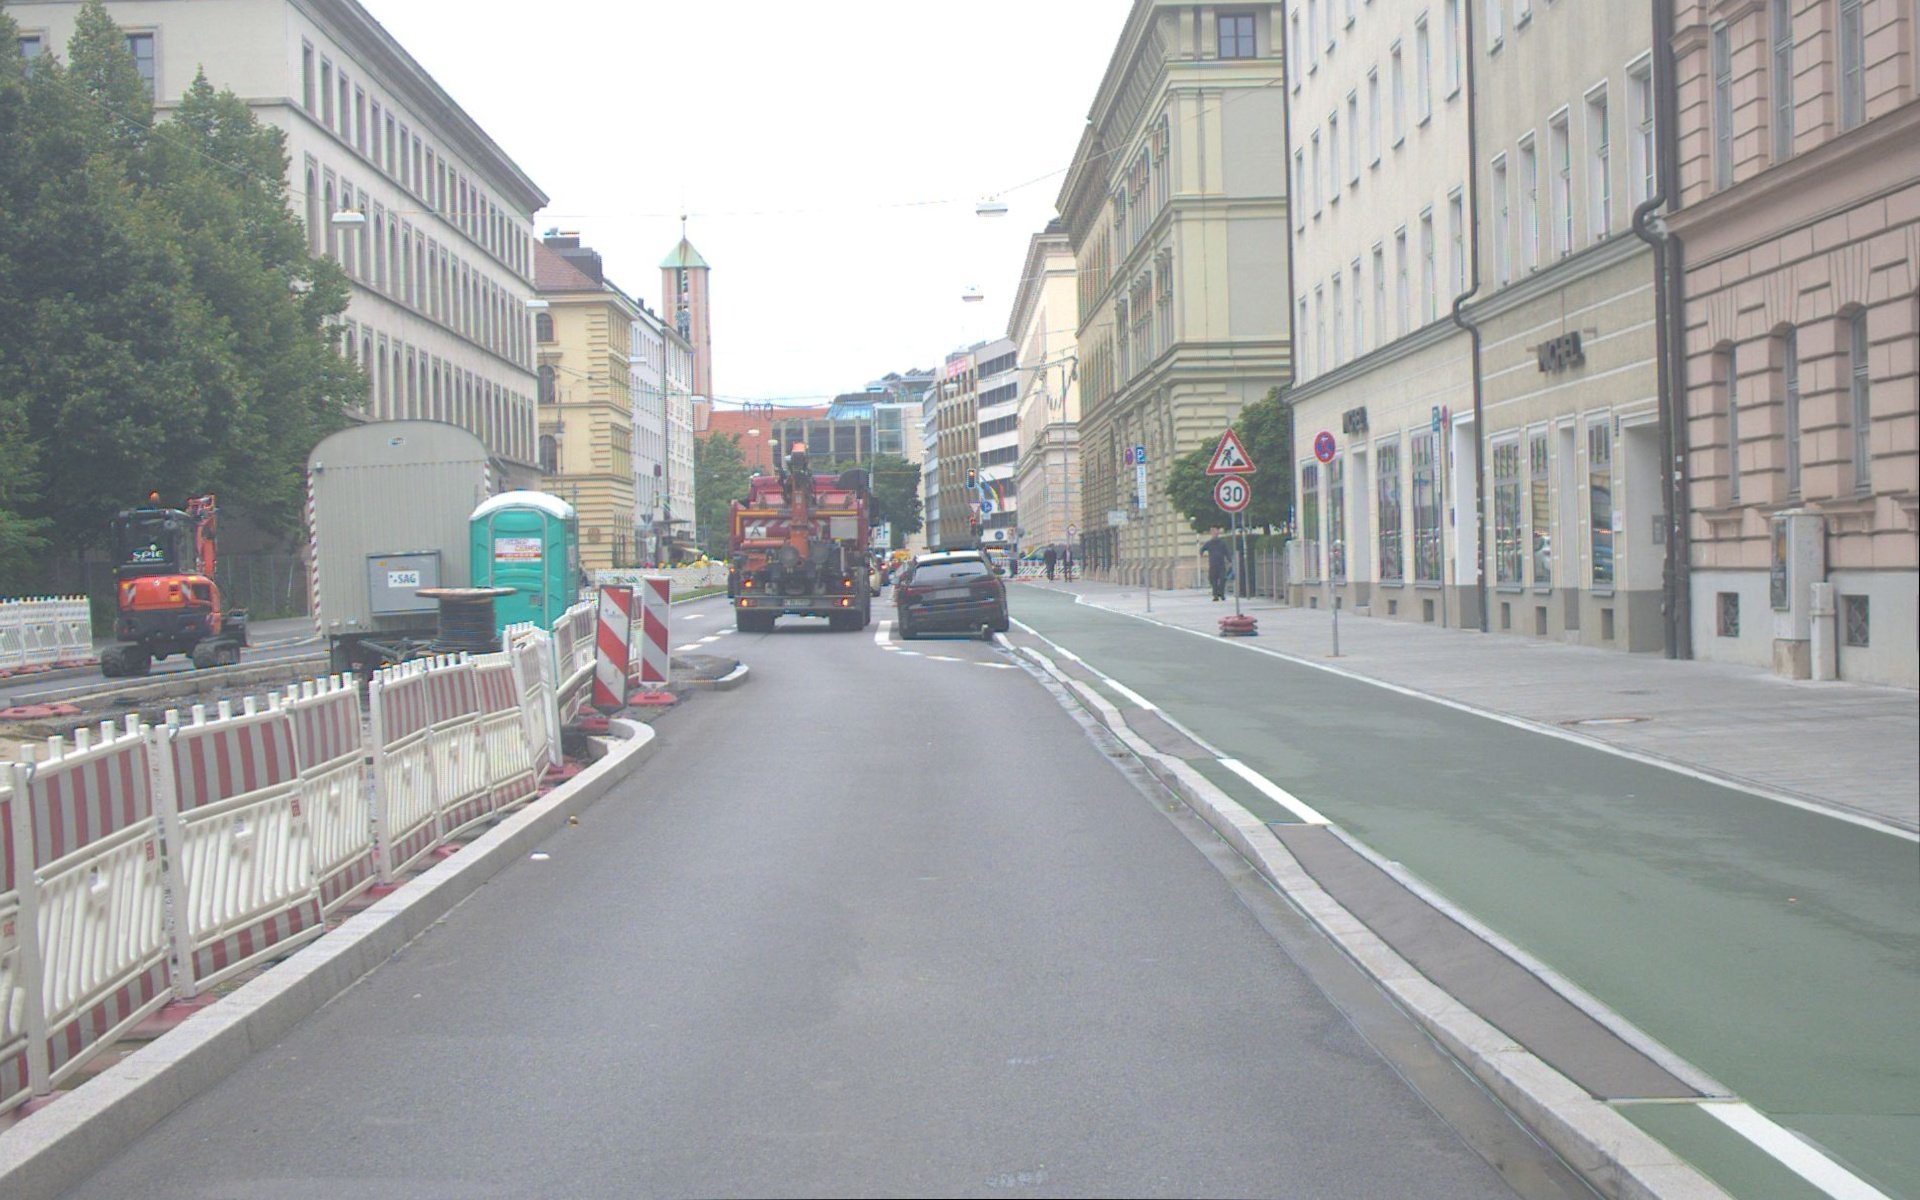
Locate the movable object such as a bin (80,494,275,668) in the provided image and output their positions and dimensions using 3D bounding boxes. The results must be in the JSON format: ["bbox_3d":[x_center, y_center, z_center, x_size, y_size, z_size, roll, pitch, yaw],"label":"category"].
[{"bbox_3d":[-12.082,-0.339,53.374,1.924,2.563,4.493,-1,1,1],"label":"movable object such as a bin"}]

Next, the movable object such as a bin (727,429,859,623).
[{"bbox_3d":[-3.236,-1.444,67.627,2.423,3.599,5.852,-1,1,-2],"label":"movable object such as a bin"}]

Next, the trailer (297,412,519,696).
[{"bbox_3d":[-6.885,-0.602,43.678,2.226,3.232,7.521,-2,1,-6],"label":"trailer"}]

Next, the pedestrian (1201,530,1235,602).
[{"bbox_3d":[6.598,-0.872,87.959,0.790,1.830,0.777,-2,1,1],"label":"pedestrian"}]

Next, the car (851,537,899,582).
[{"bbox_3d":[-2.952,-1.421,119.782,1.610,1.490,3.425,-1,1,-1],"label":"car"}]

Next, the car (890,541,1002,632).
[{"bbox_3d":[-0.286,-0.273,60.930,1.801,1.475,4.687,-2,1,-2],"label":"car"}]
